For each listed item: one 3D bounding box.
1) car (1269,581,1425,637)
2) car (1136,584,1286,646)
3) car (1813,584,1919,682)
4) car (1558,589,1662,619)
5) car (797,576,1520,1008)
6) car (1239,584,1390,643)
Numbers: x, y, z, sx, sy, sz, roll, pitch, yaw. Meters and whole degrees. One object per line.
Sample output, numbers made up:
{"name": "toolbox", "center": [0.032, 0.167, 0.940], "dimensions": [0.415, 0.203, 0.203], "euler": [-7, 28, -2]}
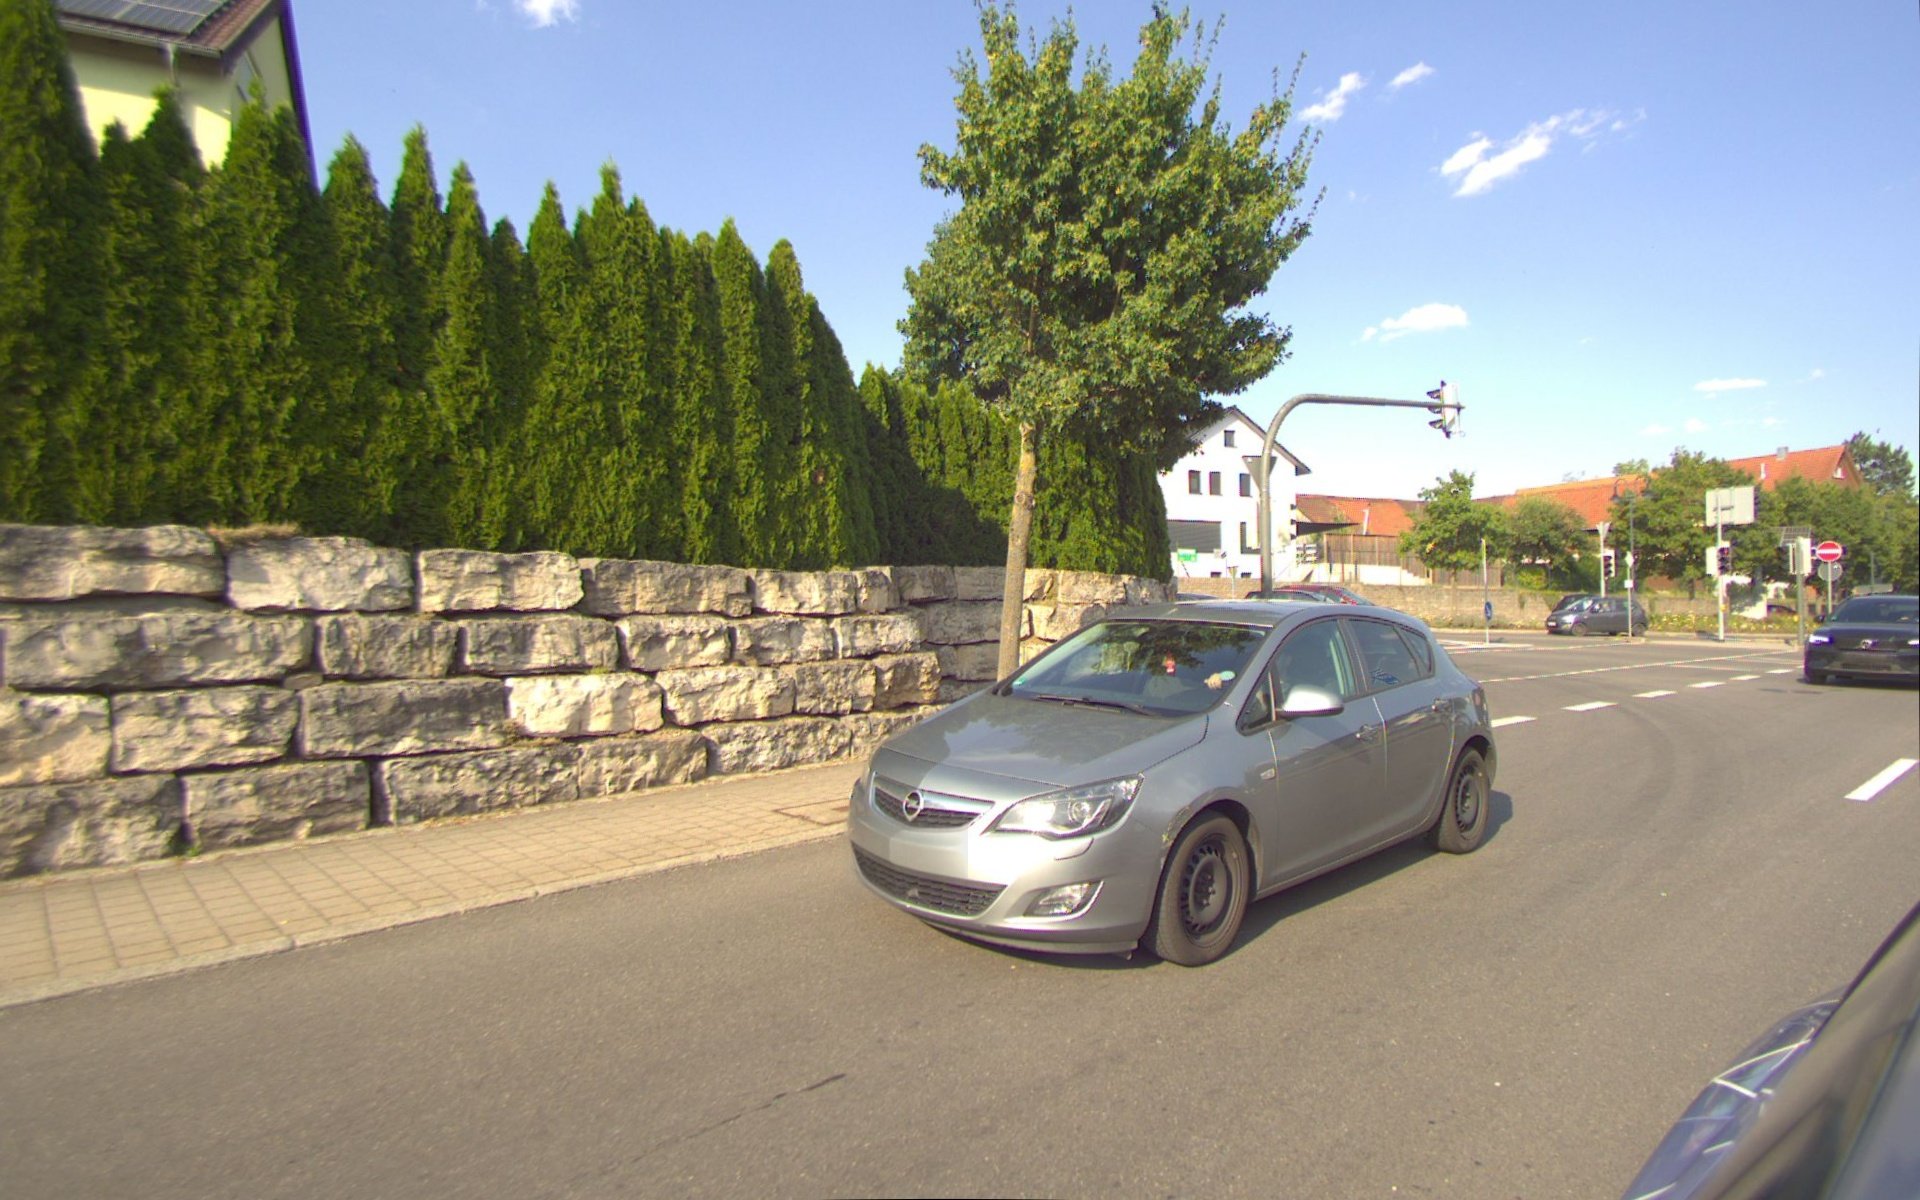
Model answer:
{"name": "car", "center": [12.145, 0.279, 31.900], "dimensions": [4.240, 1.646, 1.832], "euler": [0, -1, 45]}
{"name": "car", "center": [6.668, 0.344, 27.093], "dimensions": [1.600, 1.467, 3.602], "euler": [-1, 2, -43]}
{"name": "car", "center": [17.064, 0.560, 18.381], "dimensions": [3.984, 1.626, 1.791], "euler": [1, 0, -40]}
{"name": "car", "center": [32.383, 0.196, 50.516], "dimensions": [1.644, 1.475, 4.085], "euler": [1, 0, -27]}
{"name": "car", "center": [1.319, 0.650, 5.391], "dimensions": [4.072, 1.440, 1.650], "euler": [1, 1, -42]}
{"name": "car", "center": [9.965, 0.347, 28.529], "dimensions": [3.774, 1.561, 1.578], "euler": [0, 0, 35]}
